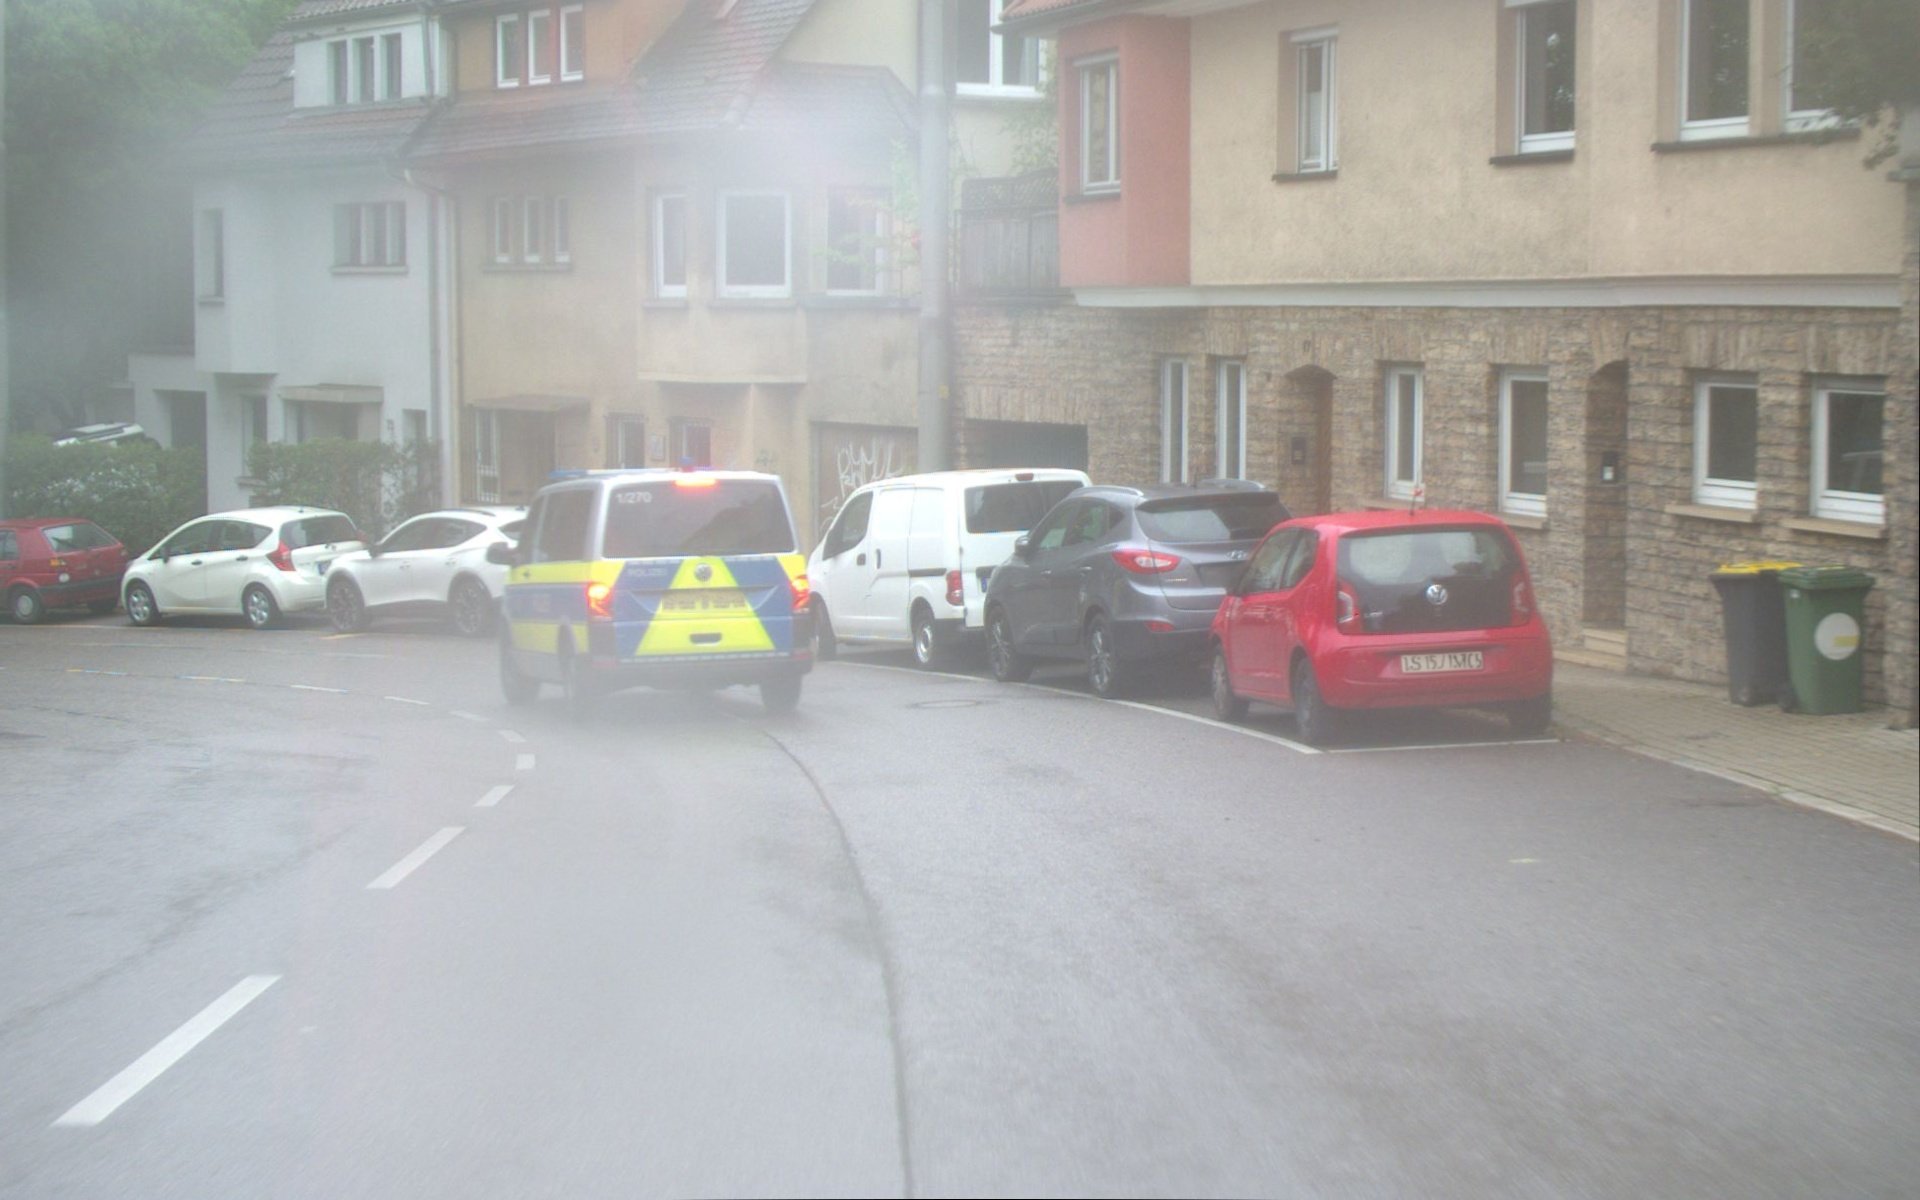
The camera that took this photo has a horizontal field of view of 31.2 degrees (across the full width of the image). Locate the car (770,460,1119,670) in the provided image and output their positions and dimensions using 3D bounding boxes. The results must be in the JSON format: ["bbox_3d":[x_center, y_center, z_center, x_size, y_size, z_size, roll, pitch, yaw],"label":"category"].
[{"bbox_3d":[-0.231,-0.392,33.354,1.705,1.784,4.327,-5,4,-23],"label":"car"}]

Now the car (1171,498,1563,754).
[{"bbox_3d":[2.682,0.108,23.410,1.615,1.430,3.583,-4,3,-10],"label":"car"}]

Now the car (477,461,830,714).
[{"bbox_3d":[-2.654,-0.106,28.671,1.993,1.887,4.571,-2,1,-17],"label":"car"}]

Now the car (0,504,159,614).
[{"bbox_3d":[-13.572,-0.546,48.597,4.189,1.362,1.783,-2,4,30],"label":"car"}]

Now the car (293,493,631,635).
[{"bbox_3d":[-6.175,-0.446,42.298,1.915,1.533,4.412,-7,5,-41],"label":"car"}]

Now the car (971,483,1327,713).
[{"bbox_3d":[1.464,-0.092,28.410,1.614,1.599,4.413,-4,4,-14],"label":"car"}]

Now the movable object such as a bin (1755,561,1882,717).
[{"bbox_3d":[5.474,0.240,21.933,0.595,0.920,0.514,-4,3,-7],"label":"movable object such as a bin"}]

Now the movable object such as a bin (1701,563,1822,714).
[{"bbox_3d":[5.275,0.250,22.638,0.587,0.920,0.508,-4,3,-7],"label":"movable object such as a bin"}]

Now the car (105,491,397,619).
[{"bbox_3d":[-9.430,-0.582,45.596,3.820,1.509,1.767,-1,5,42],"label":"car"}]

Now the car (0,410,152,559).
[{"bbox_3d":[-15.503,-1.673,54.885,4.398,1.835,2.000,-16,11,-30],"label":"car"}]
